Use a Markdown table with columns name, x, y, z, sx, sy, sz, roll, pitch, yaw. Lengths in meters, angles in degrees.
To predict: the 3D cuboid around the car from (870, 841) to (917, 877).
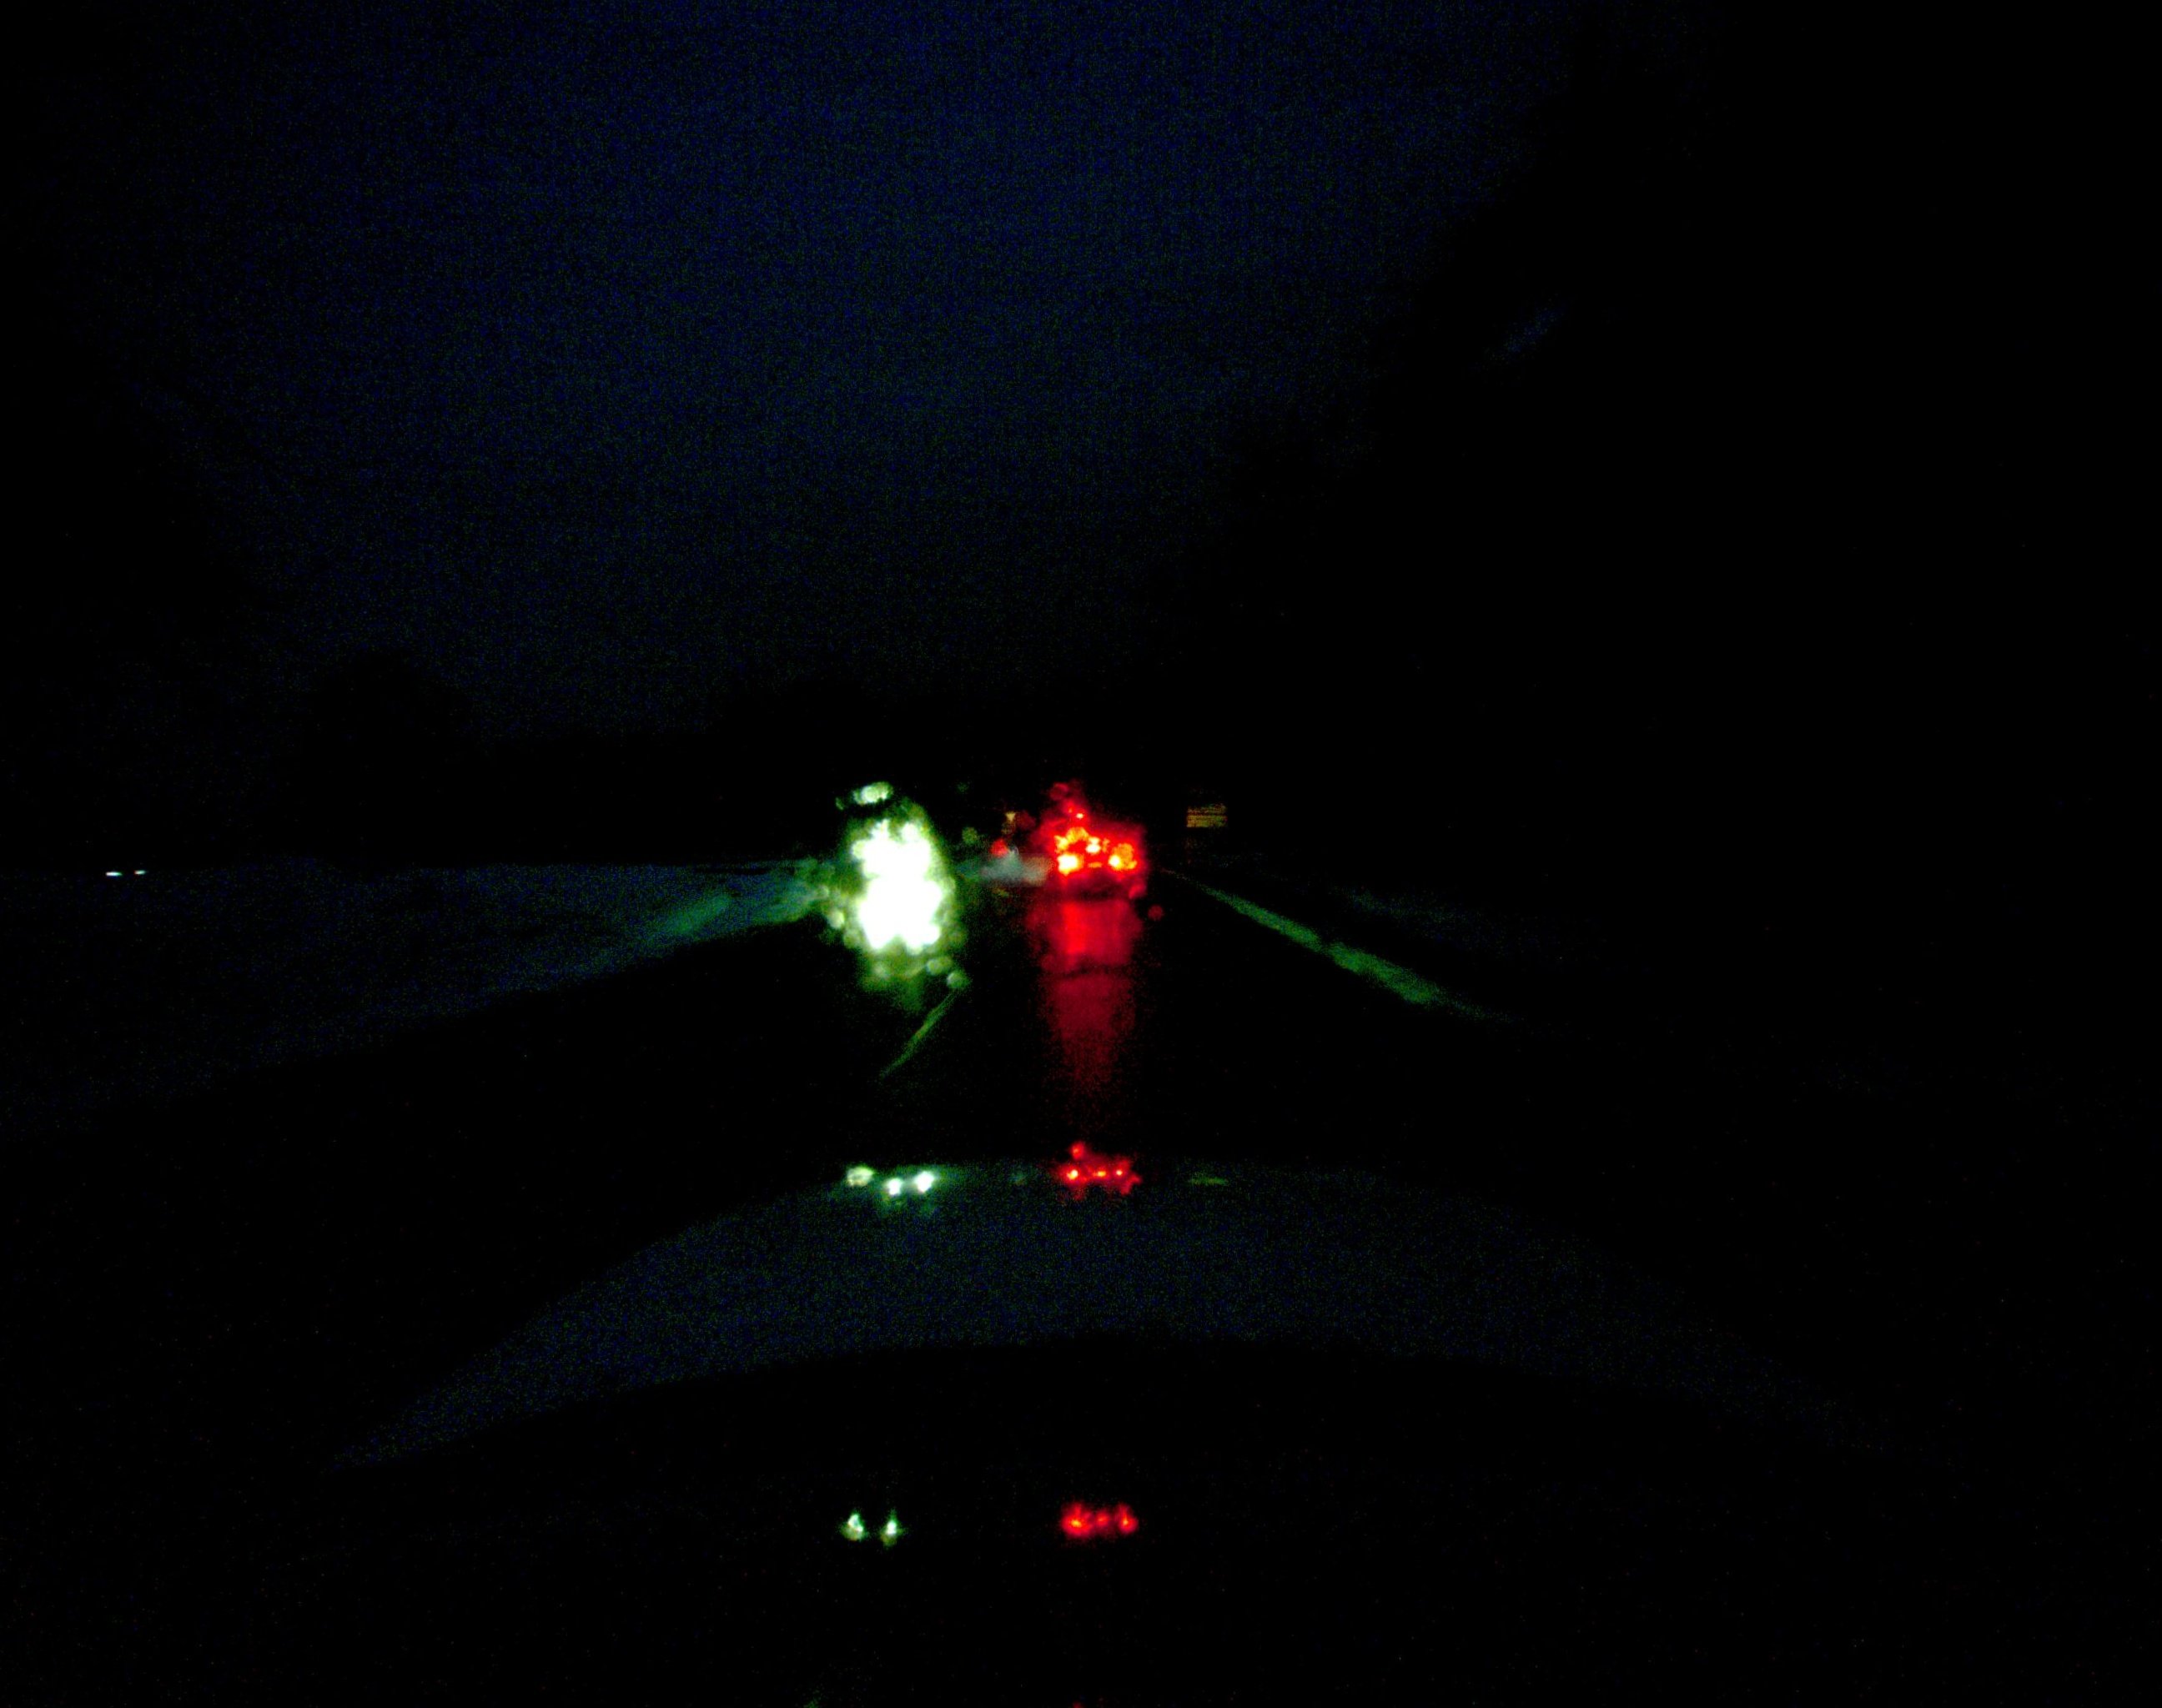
| name | x | y | z | sx | sy | sz | roll | pitch | yaw |
| --- | --- | --- | --- | --- | --- | --- | --- | --- | --- |
| car | -8.672 | 0.169 | 37.431 | 1.746 | 1.486 | 3.981 | -3 | 2 | -18 |

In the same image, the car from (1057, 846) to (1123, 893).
| name | x | y | z | sx | sy | sz | roll | pitch | yaw |
| --- | --- | --- | --- | --- | --- | --- | --- | --- | --- |
| car | 0.228 | 0.435 | 25.740 | 1.916 | 1.276 | 3.999 | 0 | 2 | -1 |

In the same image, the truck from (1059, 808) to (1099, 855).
| name | x | y | z | sx | sy | sz | roll | pitch | yaw |
| --- | --- | --- | --- | --- | --- | --- | --- | --- | --- |
| truck | -0.188 | -1.357 | 49.886 | 2.072 | 2.745 | 5.311 | 0 | 1 | -5 |
